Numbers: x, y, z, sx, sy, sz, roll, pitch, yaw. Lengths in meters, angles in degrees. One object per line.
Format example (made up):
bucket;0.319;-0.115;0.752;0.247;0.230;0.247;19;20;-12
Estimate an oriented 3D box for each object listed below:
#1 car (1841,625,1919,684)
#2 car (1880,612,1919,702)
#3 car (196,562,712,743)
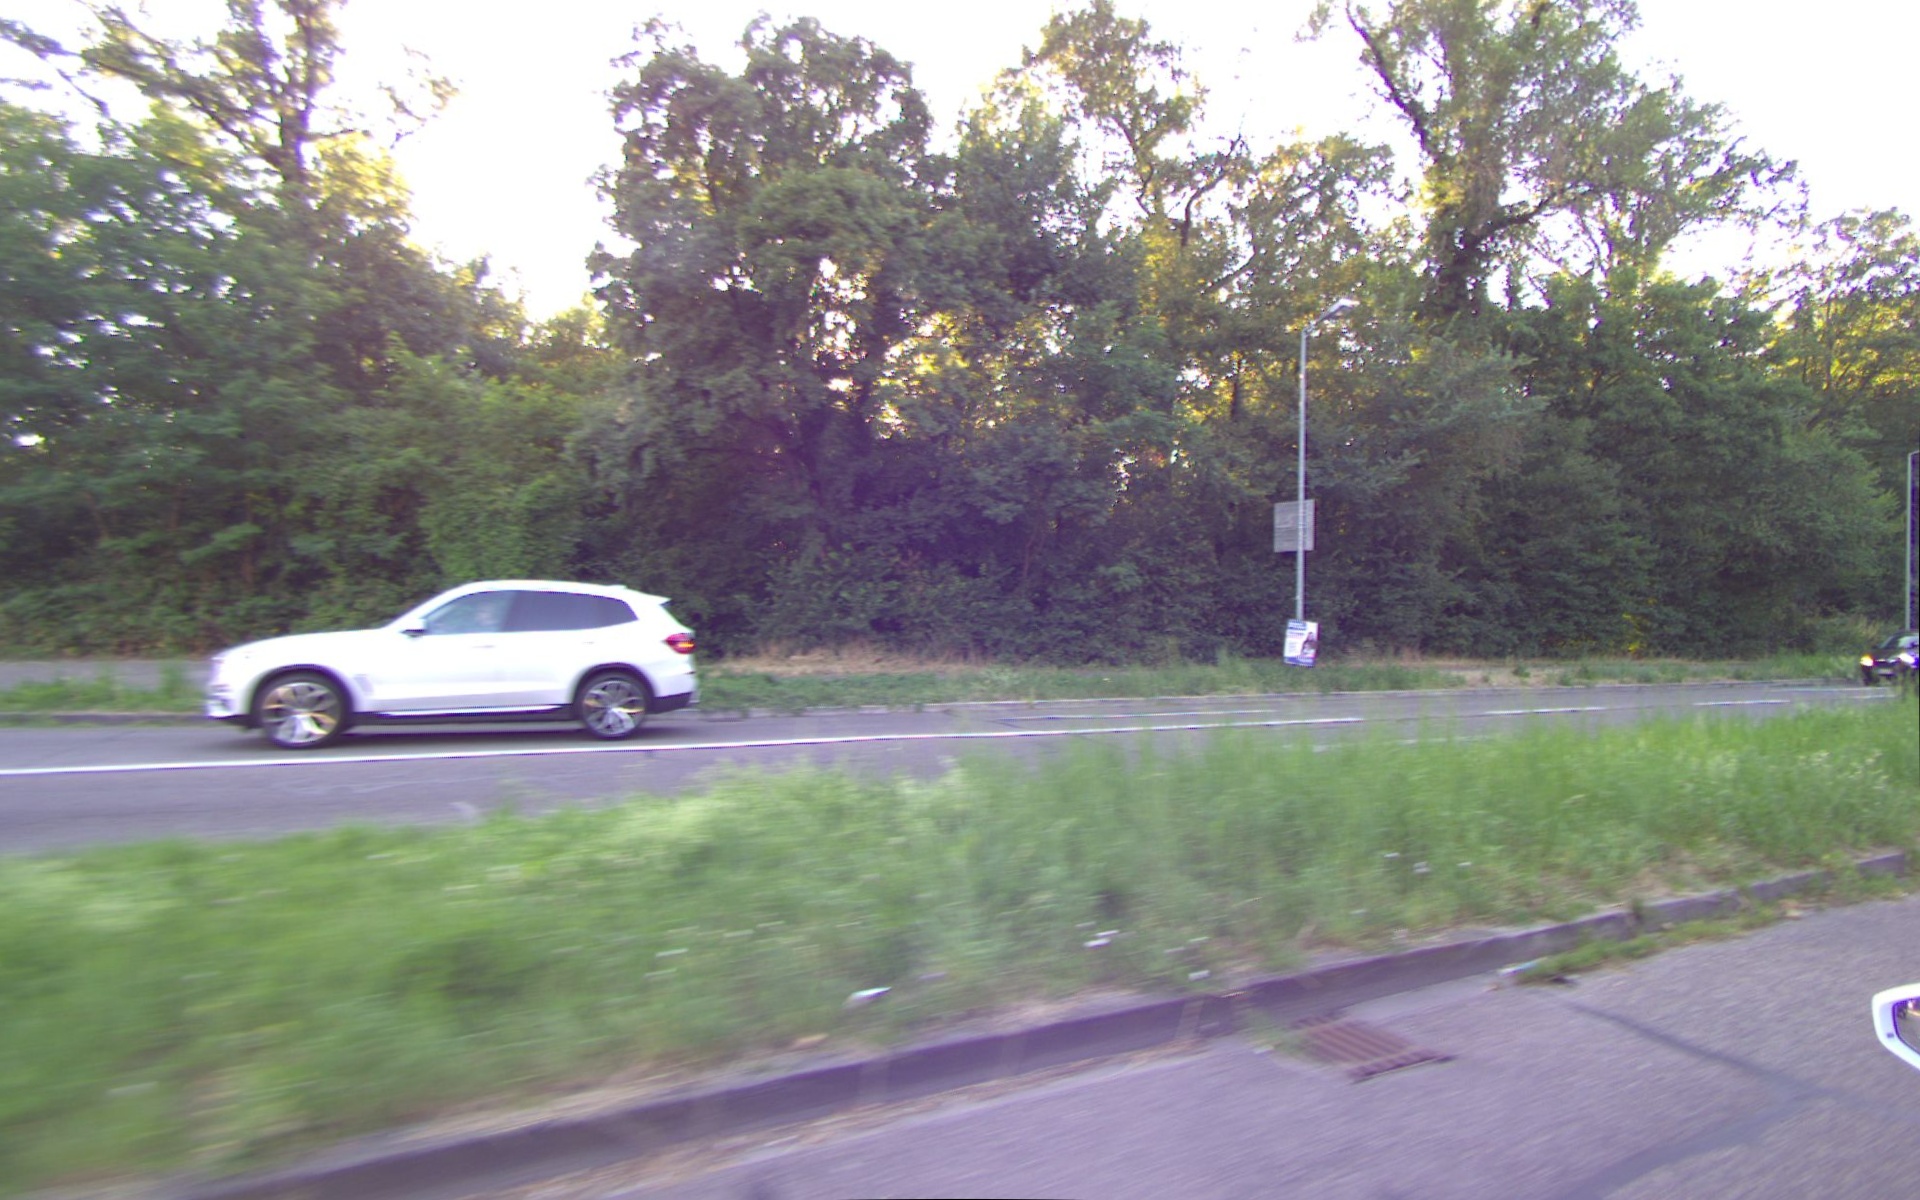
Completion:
car;25.873;1.452;27.082;4.179;1.499;1.816;2;-2;-27
car;19.692;1.095;19.123;4.394;1.649;1.807;2;-2;-27
car;-5.177;0.570;10.886;4.577;1.634;1.817;2;-3;-24
